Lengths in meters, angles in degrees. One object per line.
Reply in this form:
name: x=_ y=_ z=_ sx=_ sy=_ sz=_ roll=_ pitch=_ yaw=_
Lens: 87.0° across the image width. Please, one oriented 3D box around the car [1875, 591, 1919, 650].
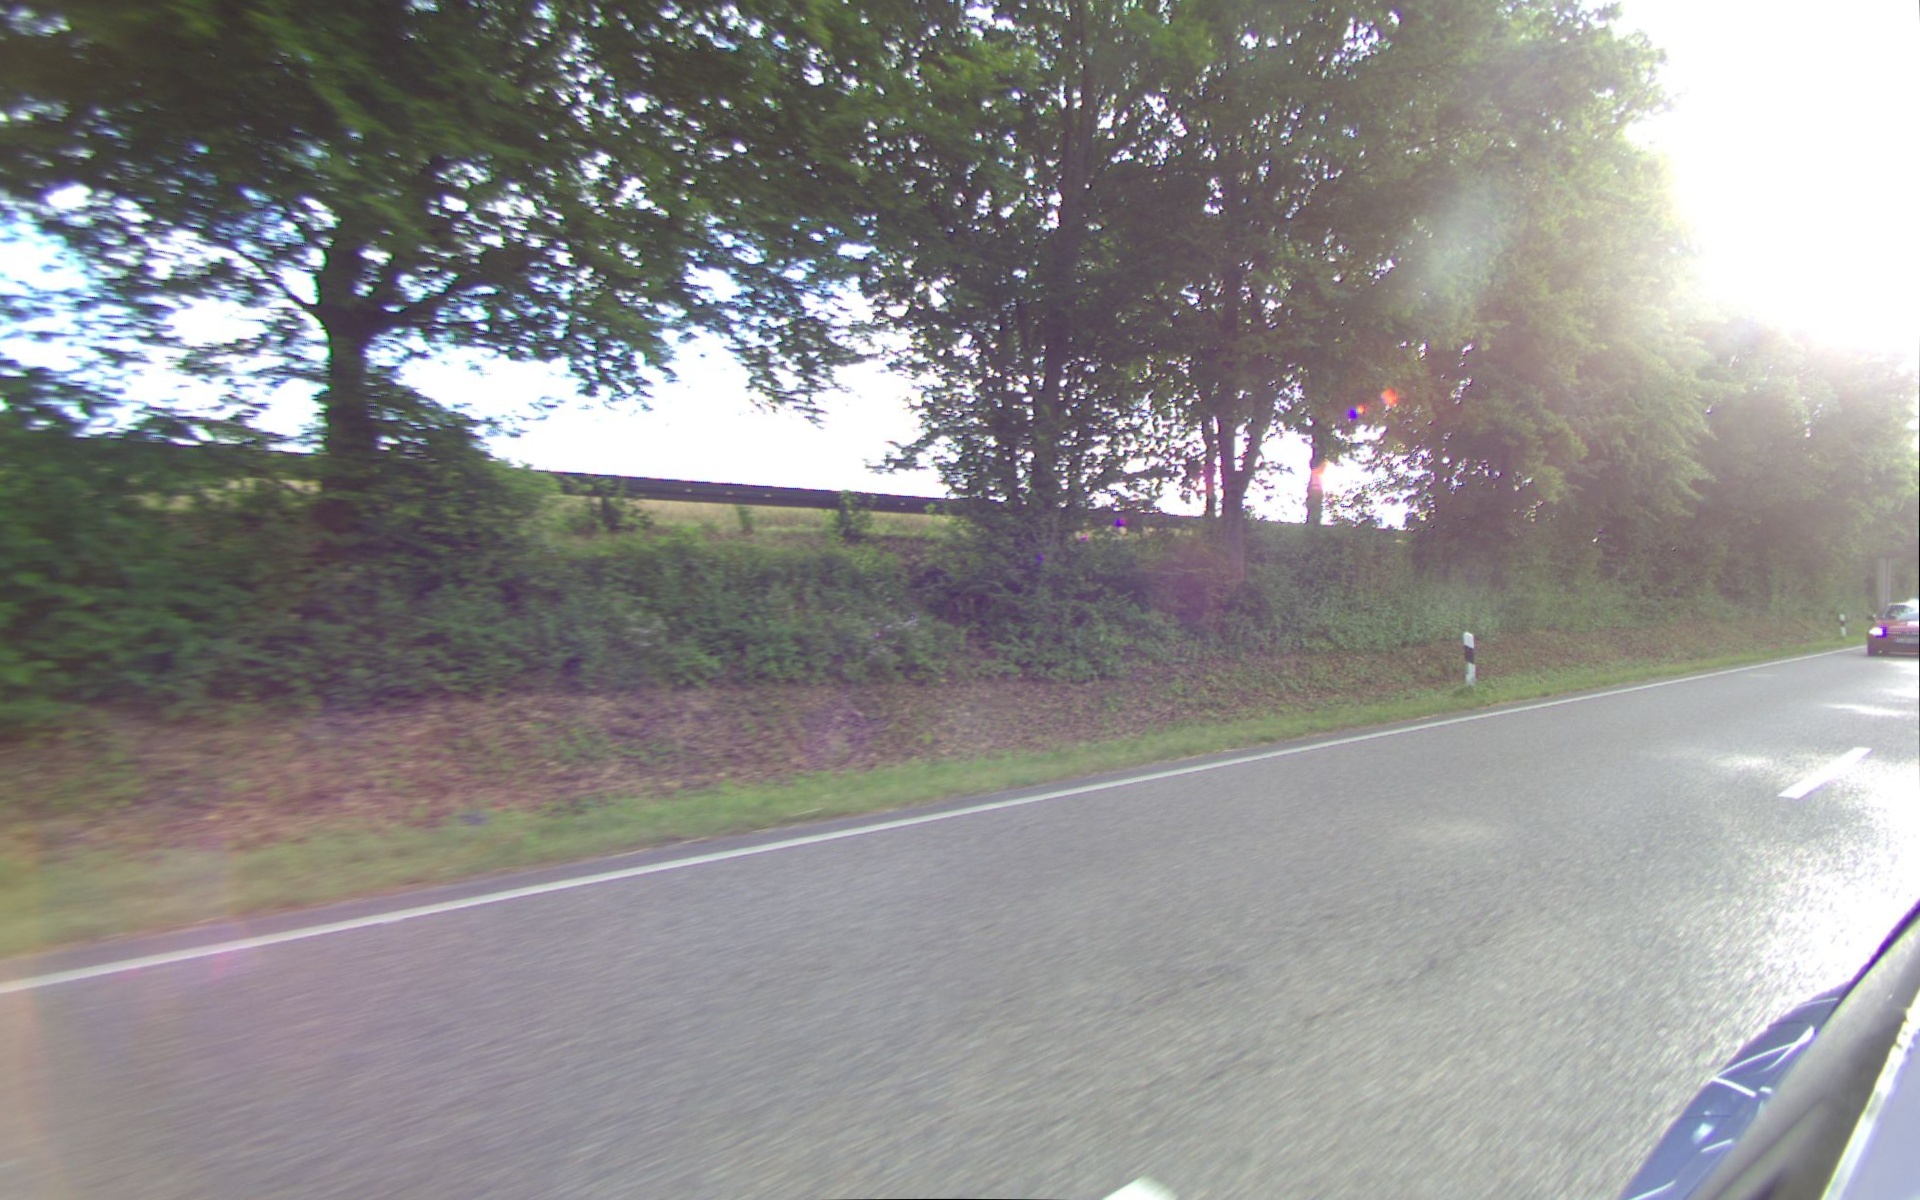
car: x=26.302 y=0.568 z=27.396 sx=3.660 sy=1.494 sz=1.723 roll=1 pitch=1 yaw=-39
